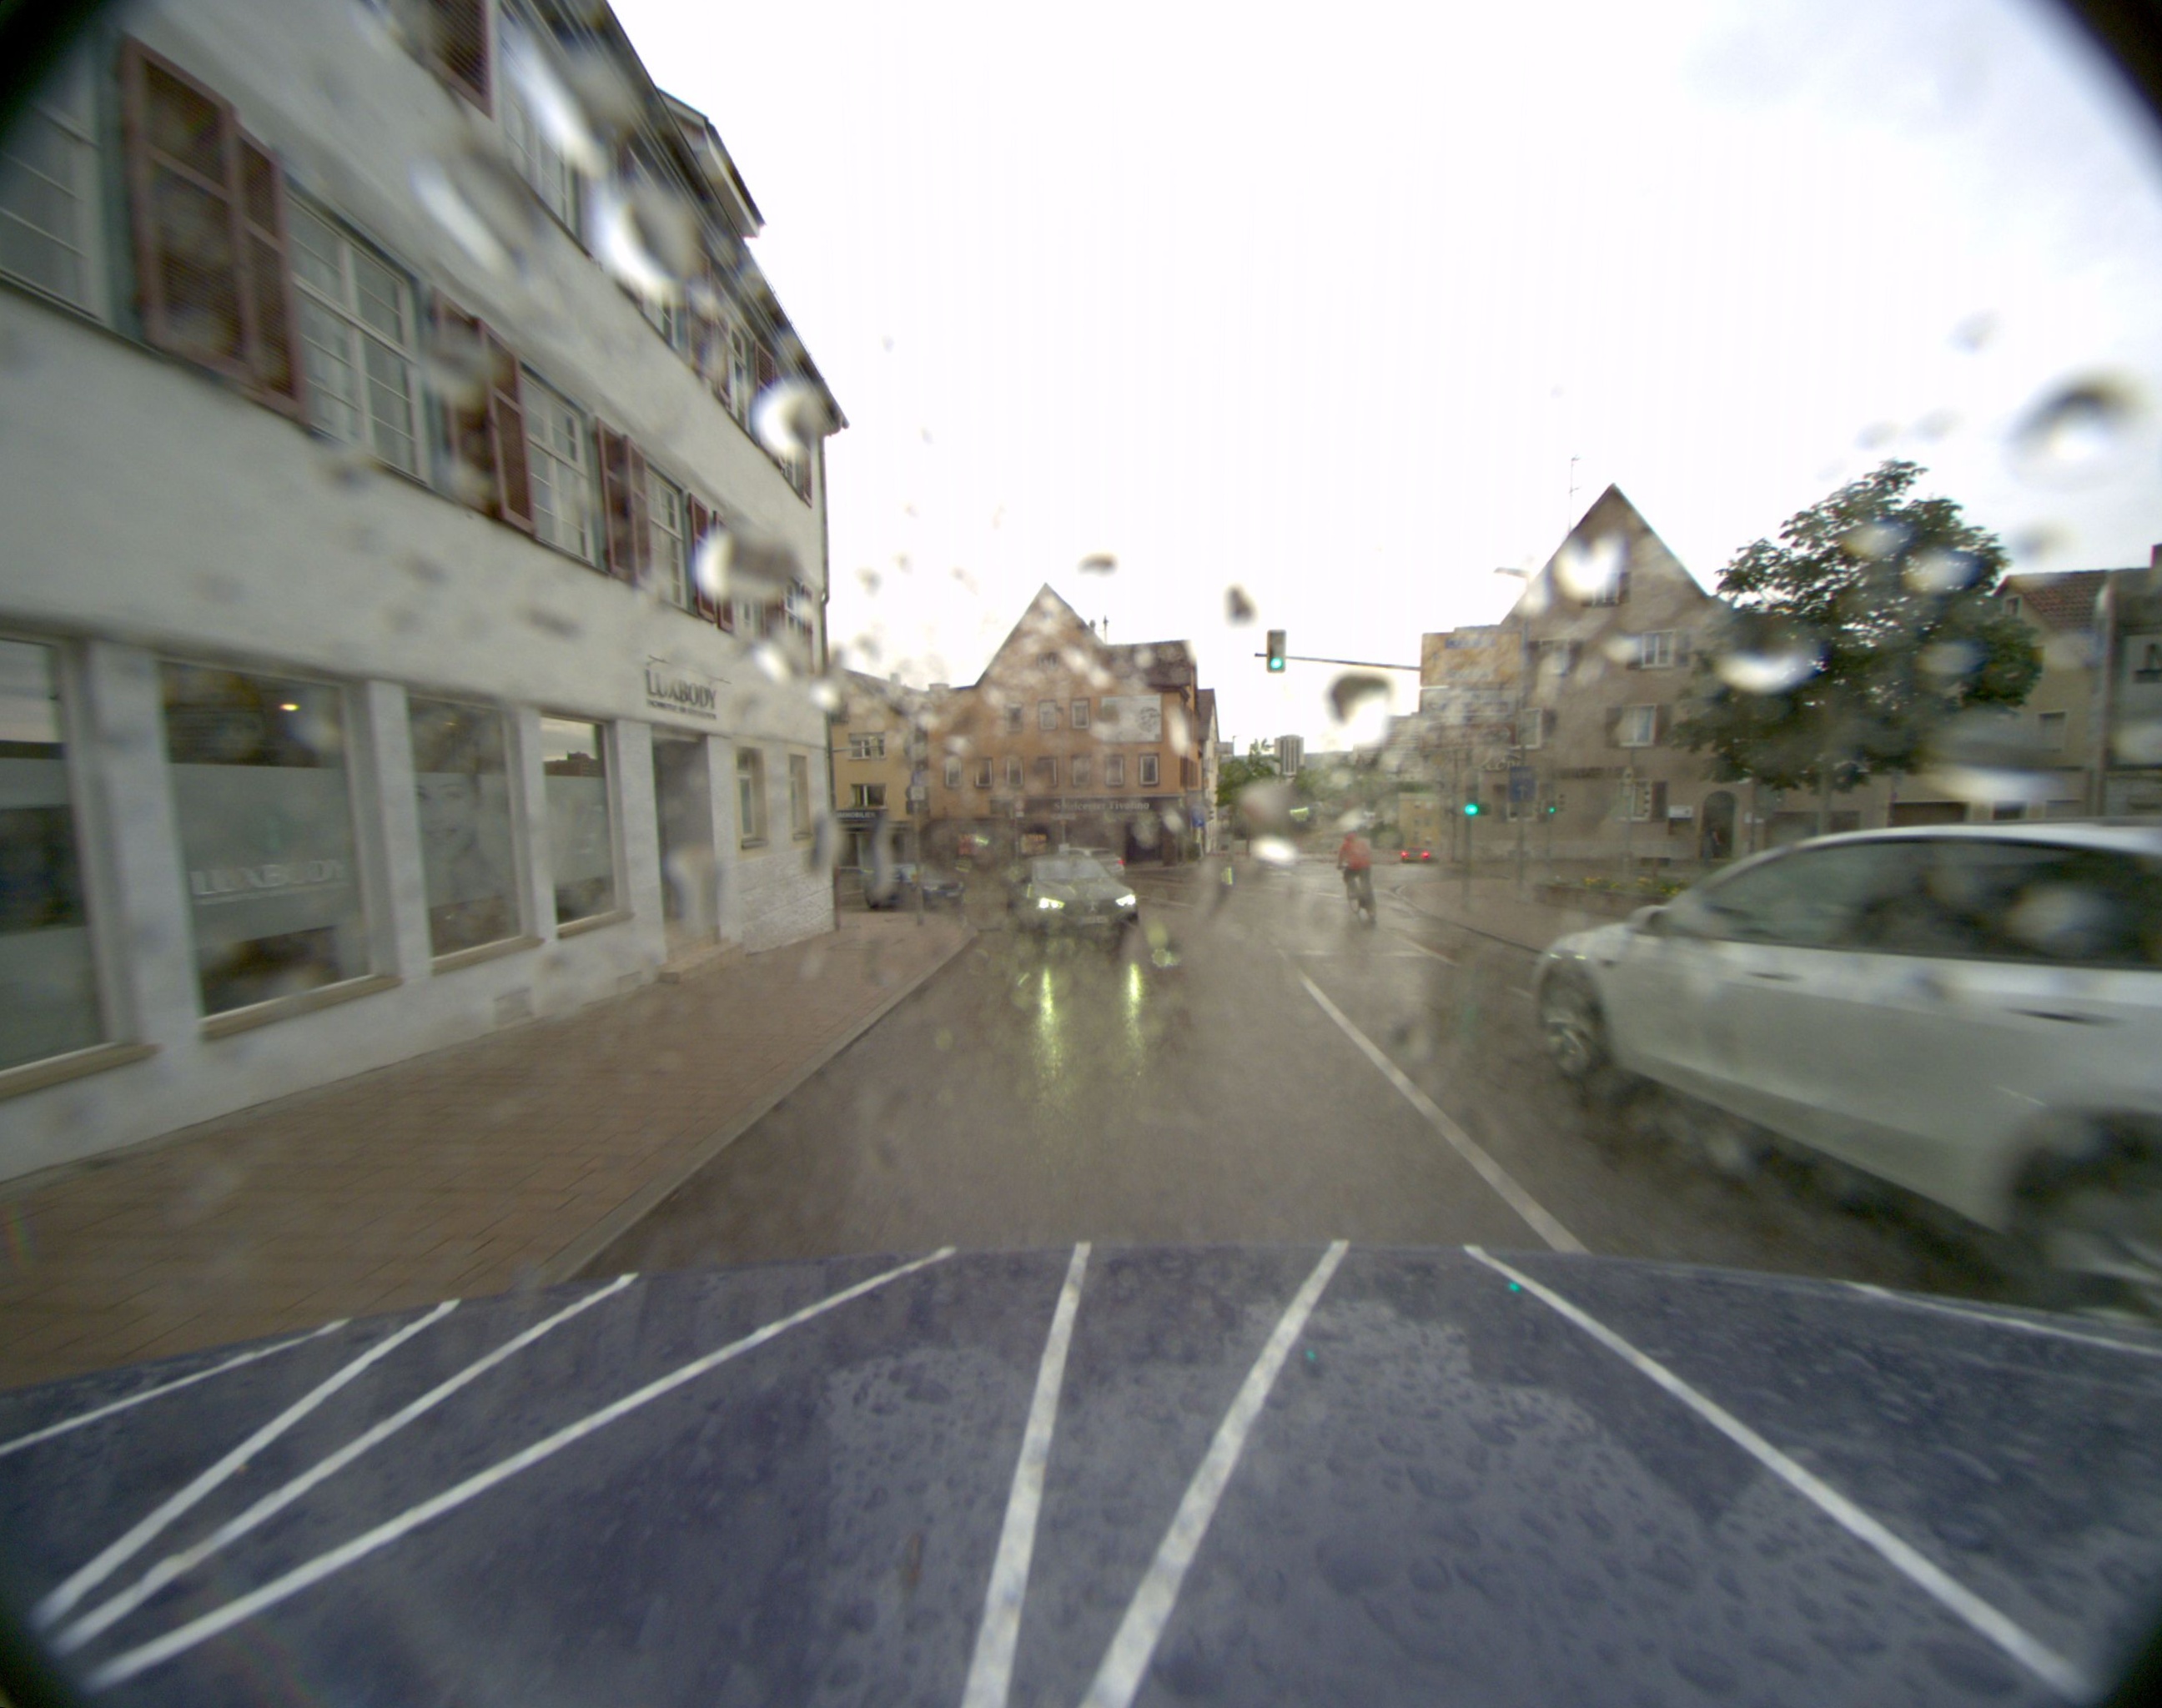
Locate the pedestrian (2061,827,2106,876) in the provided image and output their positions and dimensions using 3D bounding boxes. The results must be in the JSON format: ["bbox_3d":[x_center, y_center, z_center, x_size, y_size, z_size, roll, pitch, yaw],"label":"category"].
[{"bbox_3d":[35.943,-0.102,27.243,0.629,1.722,0.782,-2,3,18],"label":"pedestrian"}]

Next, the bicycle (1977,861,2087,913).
[{"bbox_3d":[19.696,0.655,15.773,0.392,0.907,1.468,-5,4,-3],"label":"bicycle"}]

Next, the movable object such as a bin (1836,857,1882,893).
[{"bbox_3d":[20.587,0.552,20.109,0.584,0.897,0.588,-3,4,-2],"label":"movable object such as a bin"}]

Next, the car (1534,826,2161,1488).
[{"bbox_3d":[3.737,0.782,2.758,1.877,1.652,4.310,1,0,5],"label":"car"}]

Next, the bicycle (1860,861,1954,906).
[{"bbox_3d":[19.307,0.673,17.796,0.393,0.907,1.467,-6,4,-15],"label":"bicycle"}]

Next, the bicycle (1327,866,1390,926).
[{"bbox_3d":[6.033,0.876,16.657,0.749,1.156,2.157,0,1,5],"label":"bicycle"}]

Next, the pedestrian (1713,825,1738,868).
[{"bbox_3d":[26.492,-0.299,31.245,0.536,1.720,0.556,1,6,23],"label":"pedestrian"}]

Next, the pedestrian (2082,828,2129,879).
[{"bbox_3d":[35.693,-0.034,26.488,0.629,1.722,0.782,-2,3,18],"label":"pedestrian"}]

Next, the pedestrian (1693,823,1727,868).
[{"bbox_3d":[25.865,-0.341,31.259,0.714,1.820,0.798,-2,1,-1],"label":"pedestrian"}]

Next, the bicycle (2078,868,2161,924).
[{"bbox_3d":[19.889,0.786,14.255,0.392,0.907,1.468,-5,4,-3],"label":"bicycle"}]

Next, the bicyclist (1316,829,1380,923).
[{"bbox_3d":[5.840,0.466,16.659,1.138,2.002,0.880,0,0,6],"label":"bicyclist"}]

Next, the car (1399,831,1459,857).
[{"bbox_3d":[22.717,-0.636,49.549,4.422,1.530,1.994,-3,1,-43],"label":"car"}]

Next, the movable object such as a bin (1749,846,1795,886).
[{"bbox_3d":[19.506,0.333,21.456,0.729,0.920,0.785,22,-10,-39],"label":"movable object such as a bin"}]

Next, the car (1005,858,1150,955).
[{"bbox_3d":[-0.244,0.865,14.679,2.000,1.484,4.310,-3,0,-11],"label":"car"}]

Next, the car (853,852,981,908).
[{"bbox_3d":[-5.507,0.897,25.254,4.366,1.524,1.777,-4,3,42],"label":"car"}]

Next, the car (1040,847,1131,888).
[{"bbox_3d":[0.112,0.464,29.565,1.670,1.419,3.860,-3,2,-33],"label":"car"}]

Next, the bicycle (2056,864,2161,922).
[{"bbox_3d":[19.458,0.712,14.260,0.392,0.907,1.468,-5,4,-3],"label":"bicycle"}]

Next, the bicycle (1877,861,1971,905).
[{"bbox_3d":[19.776,0.660,17.858,0.393,0.907,1.467,-6,4,-15],"label":"bicycle"}]
